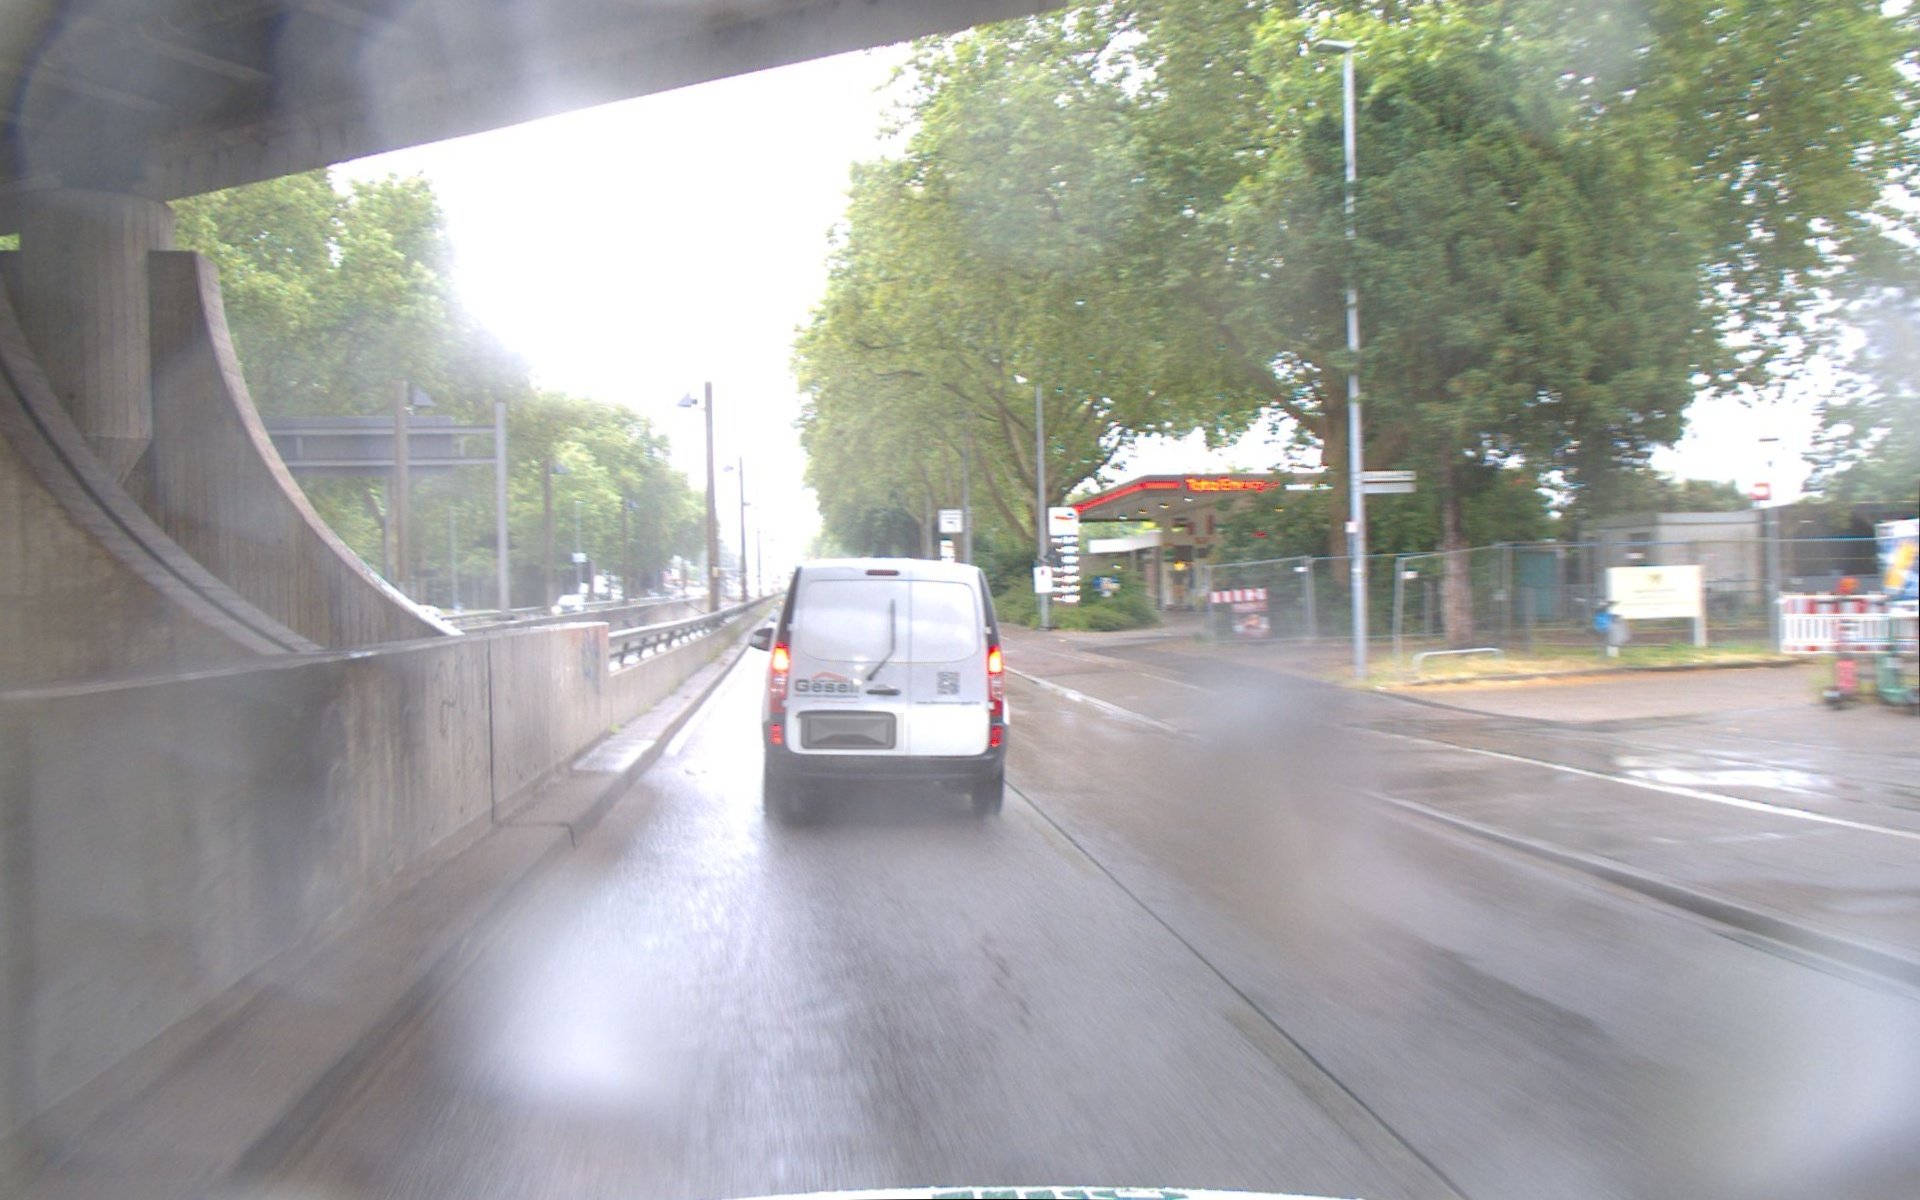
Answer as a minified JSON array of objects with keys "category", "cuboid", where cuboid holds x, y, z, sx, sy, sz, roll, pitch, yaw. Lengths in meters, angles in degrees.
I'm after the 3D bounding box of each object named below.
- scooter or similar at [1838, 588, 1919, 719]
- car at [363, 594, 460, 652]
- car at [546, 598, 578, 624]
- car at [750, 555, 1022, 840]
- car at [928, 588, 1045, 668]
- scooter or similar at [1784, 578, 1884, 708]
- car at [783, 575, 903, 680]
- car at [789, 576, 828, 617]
[{"category":"scooter or similar","cuboid":[9.598,0.513,16.764,0.754,1.199,1.549,-4,0,12]},{"category":"car","cuboid":[-17.025,0.694,51.567,1.956,1.661,4.573,-2,0,-7]},{"category":"car","cuboid":[-26.491,0.732,110.059,1.874,1.598,3.988,-2,1,-12]},{"category":"car","cuboid":[-0.733,0.684,12.966,1.723,1.808,3.993,3,-1,-7]},{"category":"car","cuboid":[0.525,0.598,36.962,1.956,1.612,3.992,-2,0,-8]},{"category":"scooter or similar","cuboid":[9.774,0.464,18.467,0.696,1.333,1.553,-7,-3,34]},{"category":"car","cuboid":[-2.088,0.446,28.738,1.881,1.637,3.995,-2,0,-6]},{"category":"car","cuboid":[-8.404,-0.163,91.980,2.008,2.177,3.996,-2,0,-4]}]
